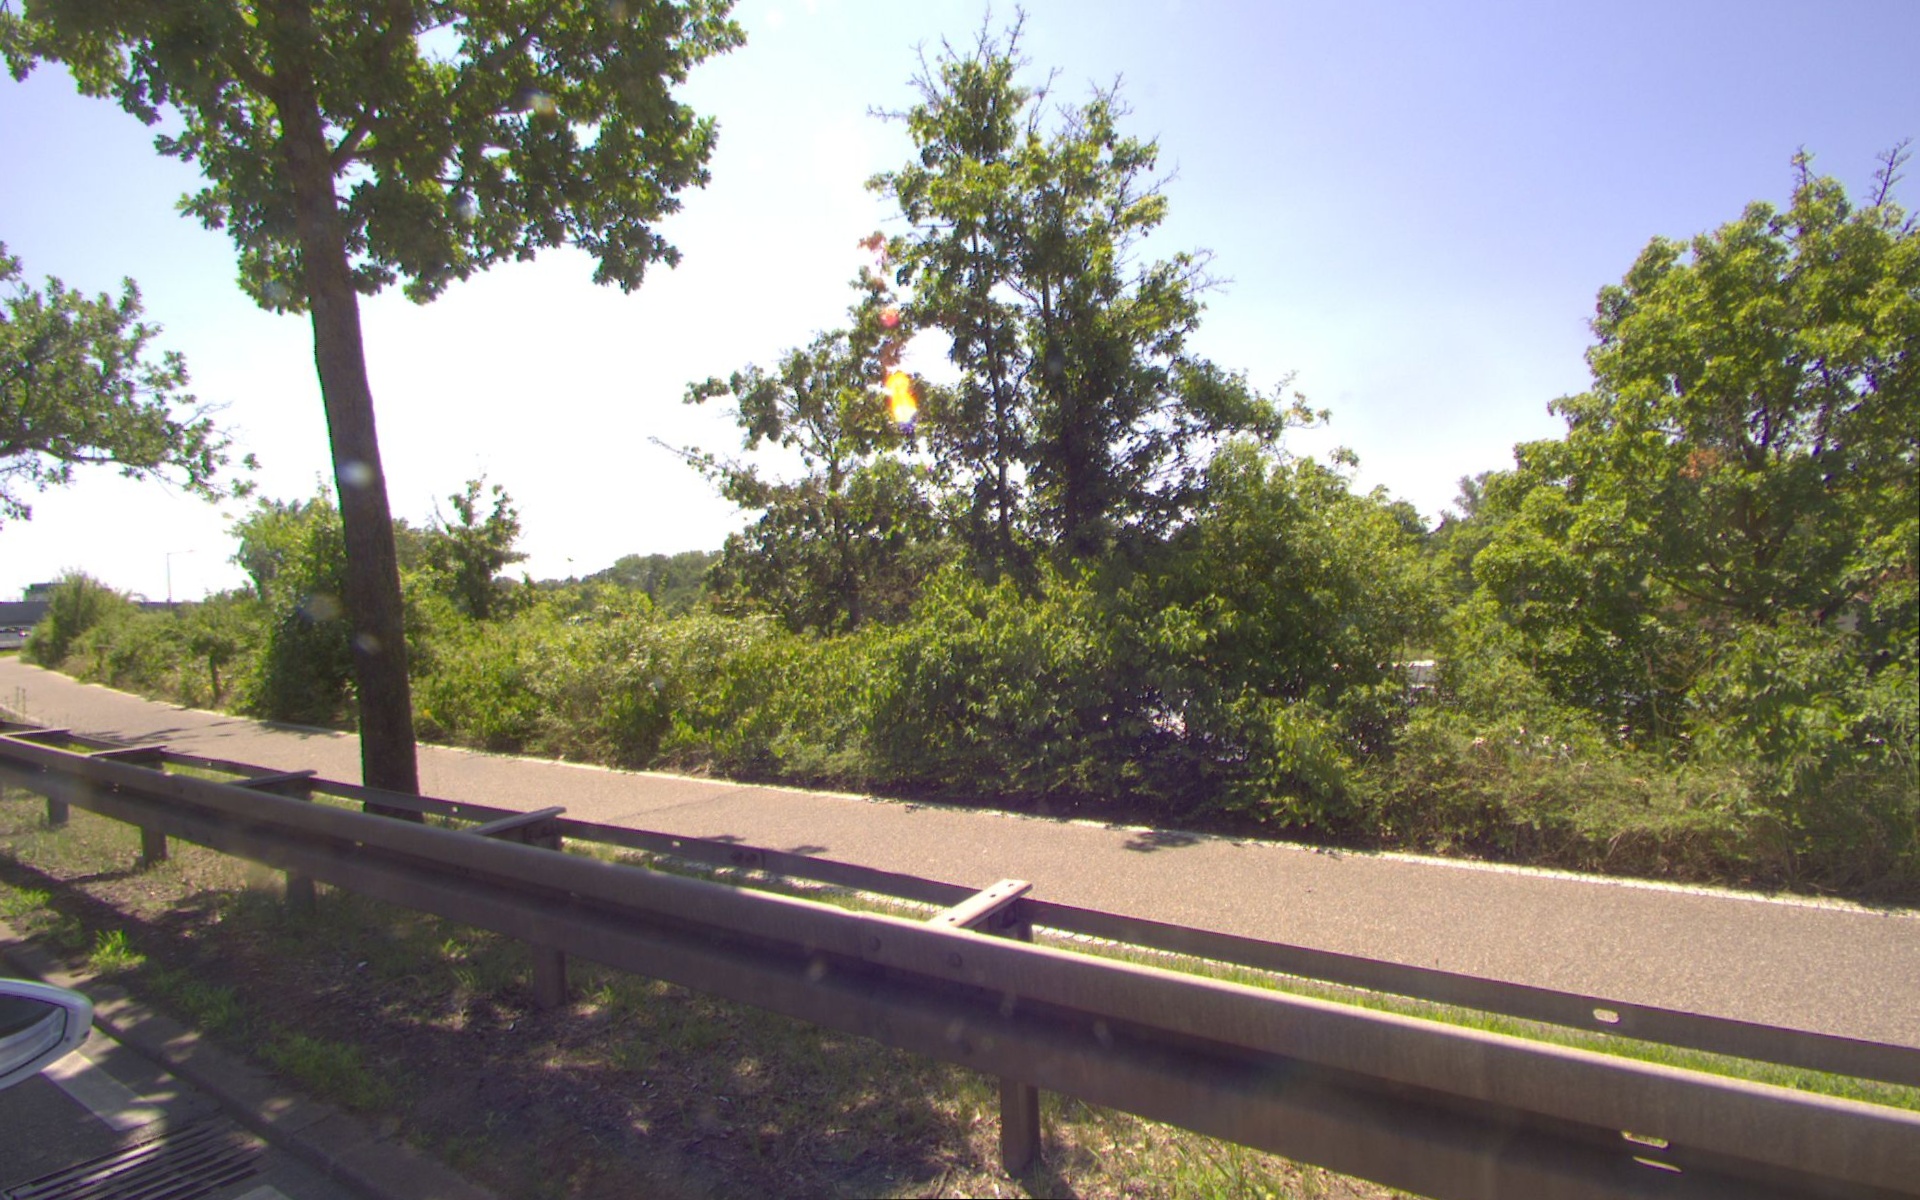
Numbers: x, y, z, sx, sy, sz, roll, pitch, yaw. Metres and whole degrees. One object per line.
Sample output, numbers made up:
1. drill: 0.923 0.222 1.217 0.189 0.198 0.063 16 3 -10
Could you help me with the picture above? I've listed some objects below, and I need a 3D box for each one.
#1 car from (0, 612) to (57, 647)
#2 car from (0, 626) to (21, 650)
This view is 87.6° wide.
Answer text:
1. car: -51.346 1.612 54.893 1.973 1.831 4.817 1 -2 -33
2. car: -59.306 2.312 61.291 1.651 1.484 3.804 1 -2 -28
